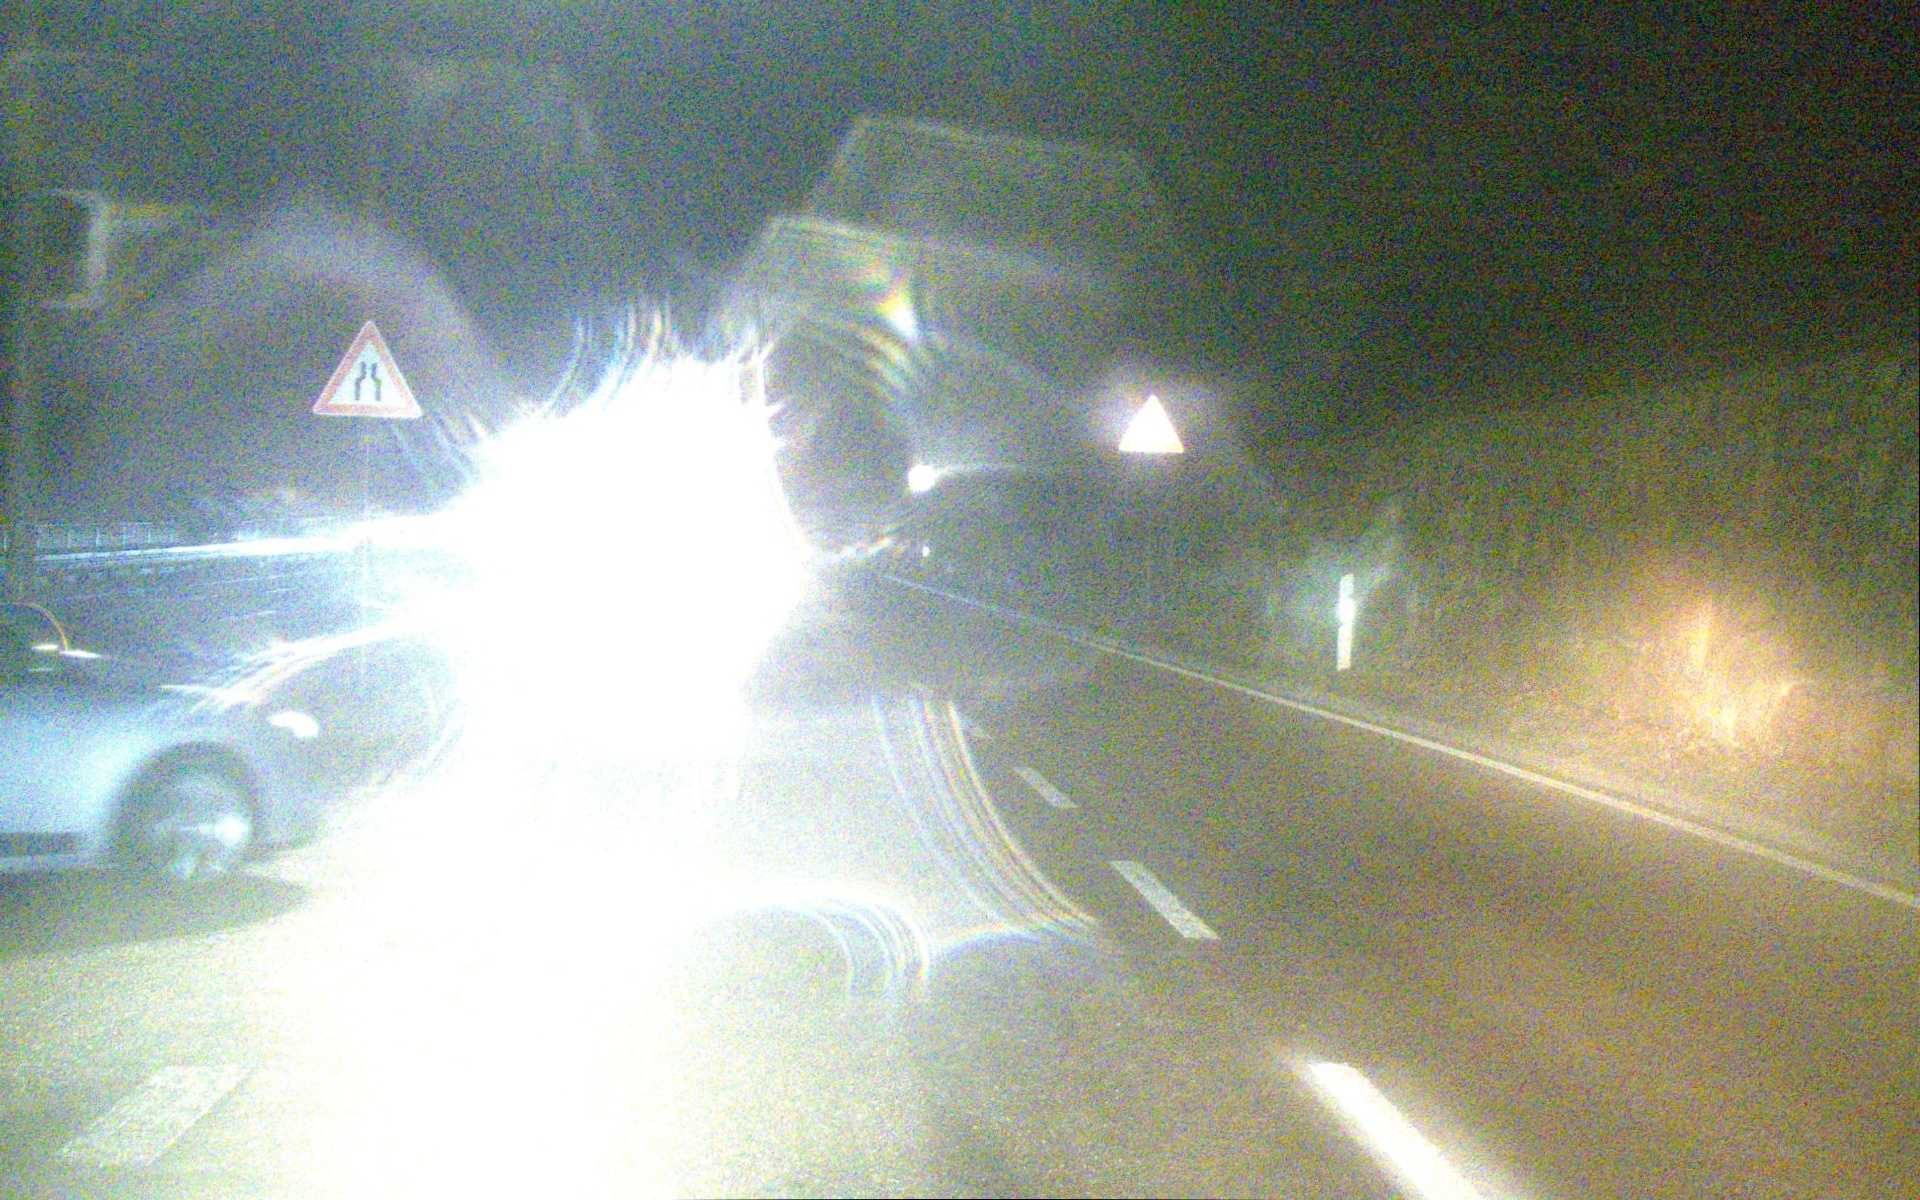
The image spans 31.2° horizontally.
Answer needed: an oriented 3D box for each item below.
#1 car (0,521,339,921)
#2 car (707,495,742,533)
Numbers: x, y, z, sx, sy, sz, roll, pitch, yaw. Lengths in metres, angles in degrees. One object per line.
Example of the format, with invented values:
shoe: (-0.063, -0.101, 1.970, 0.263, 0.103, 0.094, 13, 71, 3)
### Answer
car: (-4.687, 0.456, 13.183, 4.361, 1.513, 1.516, -1, 2, -40)
car: (-12.810, -4.659, 187.170, 1.791, 2.015, 4.580, 1, 1, -2)
